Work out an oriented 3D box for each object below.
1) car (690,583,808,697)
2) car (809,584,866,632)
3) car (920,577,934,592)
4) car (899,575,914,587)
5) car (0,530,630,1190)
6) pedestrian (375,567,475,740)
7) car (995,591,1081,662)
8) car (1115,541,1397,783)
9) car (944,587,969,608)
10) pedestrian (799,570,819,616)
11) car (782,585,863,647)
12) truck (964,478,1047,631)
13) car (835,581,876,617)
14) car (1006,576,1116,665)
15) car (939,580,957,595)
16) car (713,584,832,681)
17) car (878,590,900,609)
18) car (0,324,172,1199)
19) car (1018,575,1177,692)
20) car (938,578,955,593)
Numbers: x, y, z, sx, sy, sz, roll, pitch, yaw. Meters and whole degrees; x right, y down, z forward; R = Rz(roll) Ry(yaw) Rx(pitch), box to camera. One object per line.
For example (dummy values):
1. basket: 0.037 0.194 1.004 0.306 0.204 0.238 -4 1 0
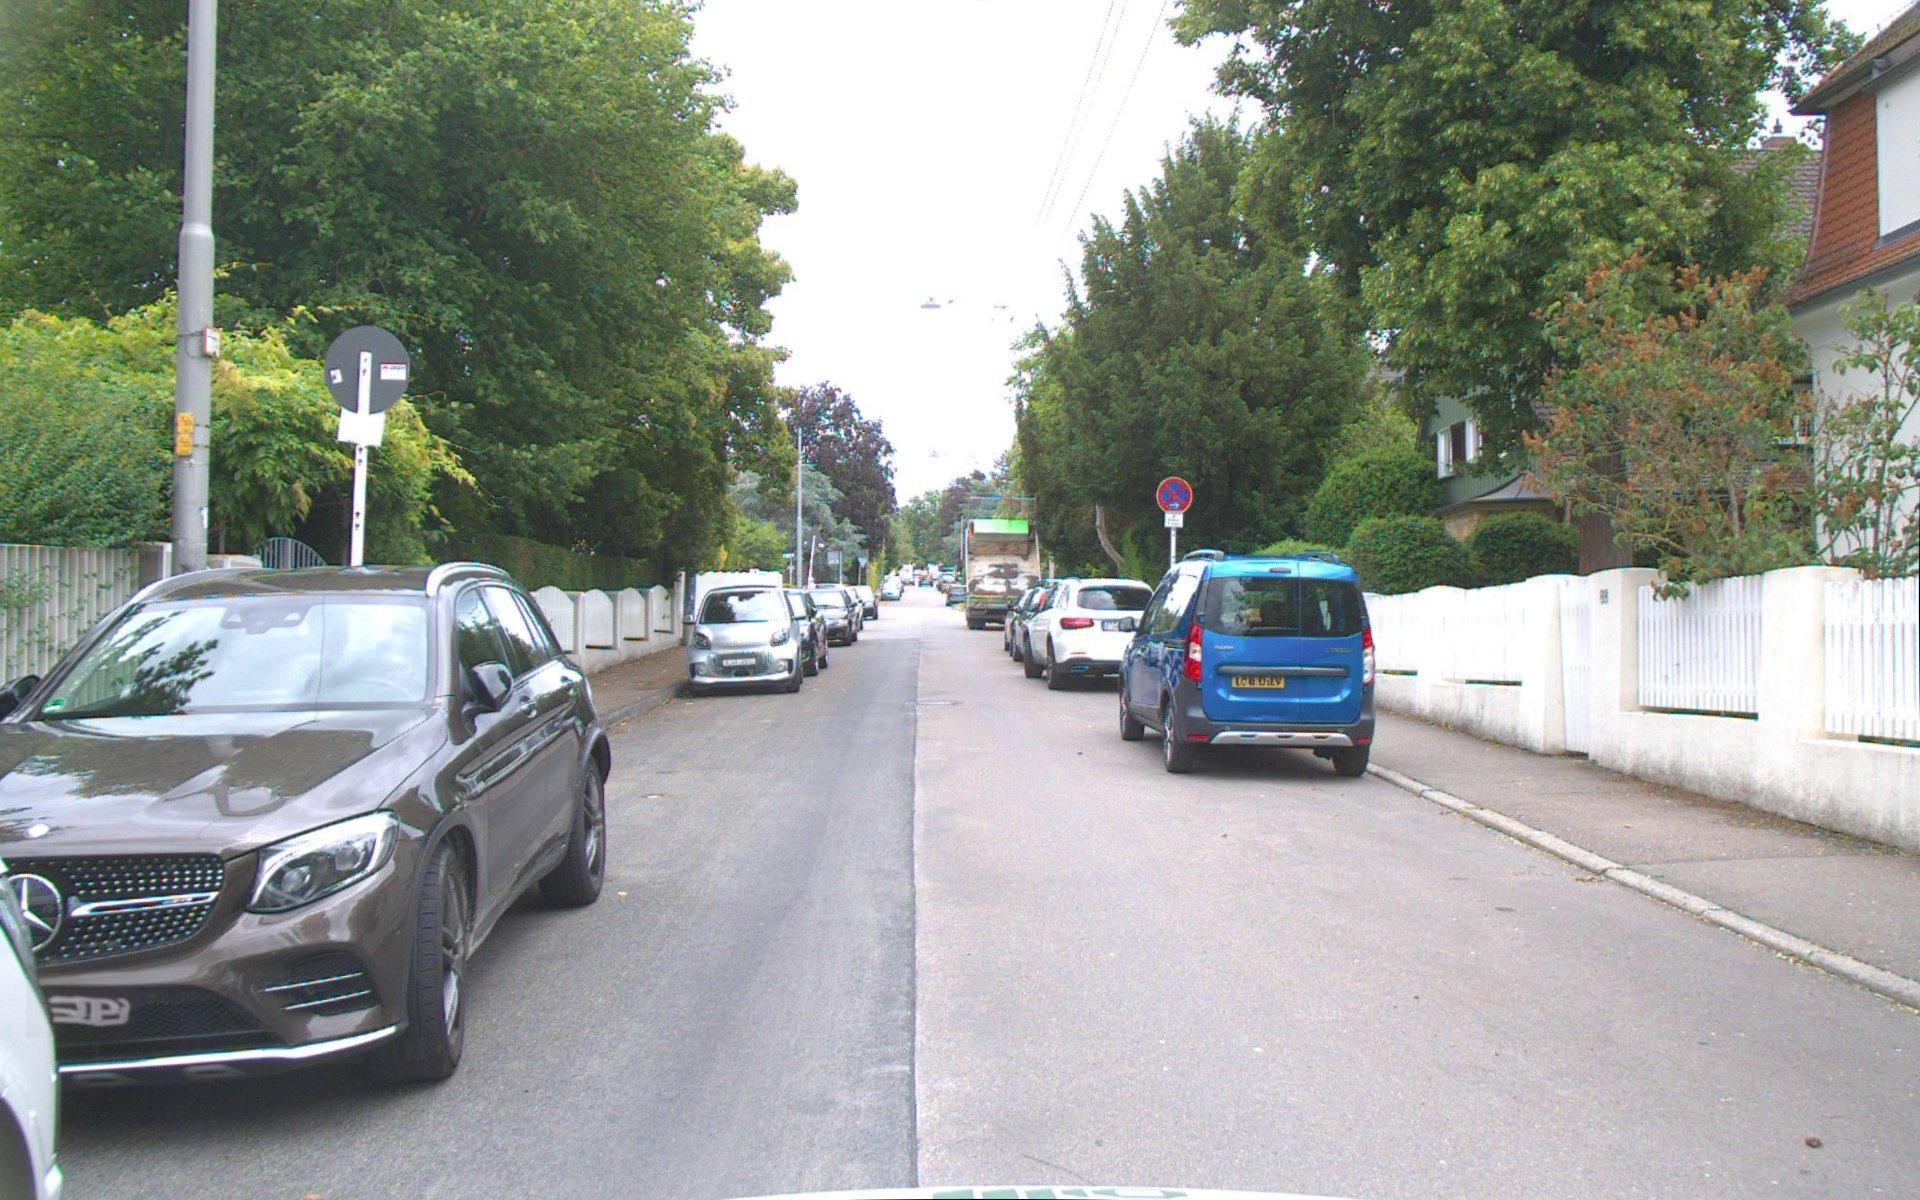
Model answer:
1. car: -3.150 0.554 25.124 1.590 1.560 2.960 -2 1 -5
2. car: -3.979 0.244 54.202 1.563 1.458 4.000 -2 1 -1
3. car: -4.052 -1.916 203.825 1.601 1.731 3.493 1 1 -2
4. car: -6.818 -2.417 211.218 1.692 1.432 3.805 0 0 3
5. car: -2.469 0.647 6.350 1.755 1.651 4.340 -1 0 -4
6. pedestrian: -5.113 0.500 15.848 0.596 1.573 0.797 5 0 -2
7. car: 1.717 0.551 37.540 1.618 1.448 4.660 1 0 -1
8. car: 2.541 0.464 15.182 1.649 1.861 4.155 2 1 -2
9. car: -0.298 -0.202 126.325 1.743 1.515 3.998 0 0 -2
10. pedestrian: -6.899 -0.328 75.519 0.835 2.049 0.700 2 0 -6
11. car: -3.486 0.379 42.631 1.607 1.447 4.550 -2 0 1
12. truck: 1.468 -1.476 56.431 2.473 4.831 7.186 1 0 -1
13. car: -4.350 -0.058 69.424 1.604 1.419 3.987 -2 1 -3
14. car: 1.891 0.357 32.131 1.664 1.598 4.306 0 0 -3
15. car: -1.250 -1.268 169.864 1.774 1.359 3.631 2 2 -2
16. car: -3.206 0.509 28.903 1.621 1.507 3.887 -2 1 -1
17. car: -6.223 -0.050 146.000 1.676 1.613 4.001 1 0 1
18. car: -2.413 0.551 0.877 1.817 1.947 4.618 -2 0 -1
19. car: 2.060 0.463 26.023 1.723 1.634 4.570 1 0 -5
20. car: -1.487 -1.556 178.755 1.753 1.556 3.734 1 1 0
